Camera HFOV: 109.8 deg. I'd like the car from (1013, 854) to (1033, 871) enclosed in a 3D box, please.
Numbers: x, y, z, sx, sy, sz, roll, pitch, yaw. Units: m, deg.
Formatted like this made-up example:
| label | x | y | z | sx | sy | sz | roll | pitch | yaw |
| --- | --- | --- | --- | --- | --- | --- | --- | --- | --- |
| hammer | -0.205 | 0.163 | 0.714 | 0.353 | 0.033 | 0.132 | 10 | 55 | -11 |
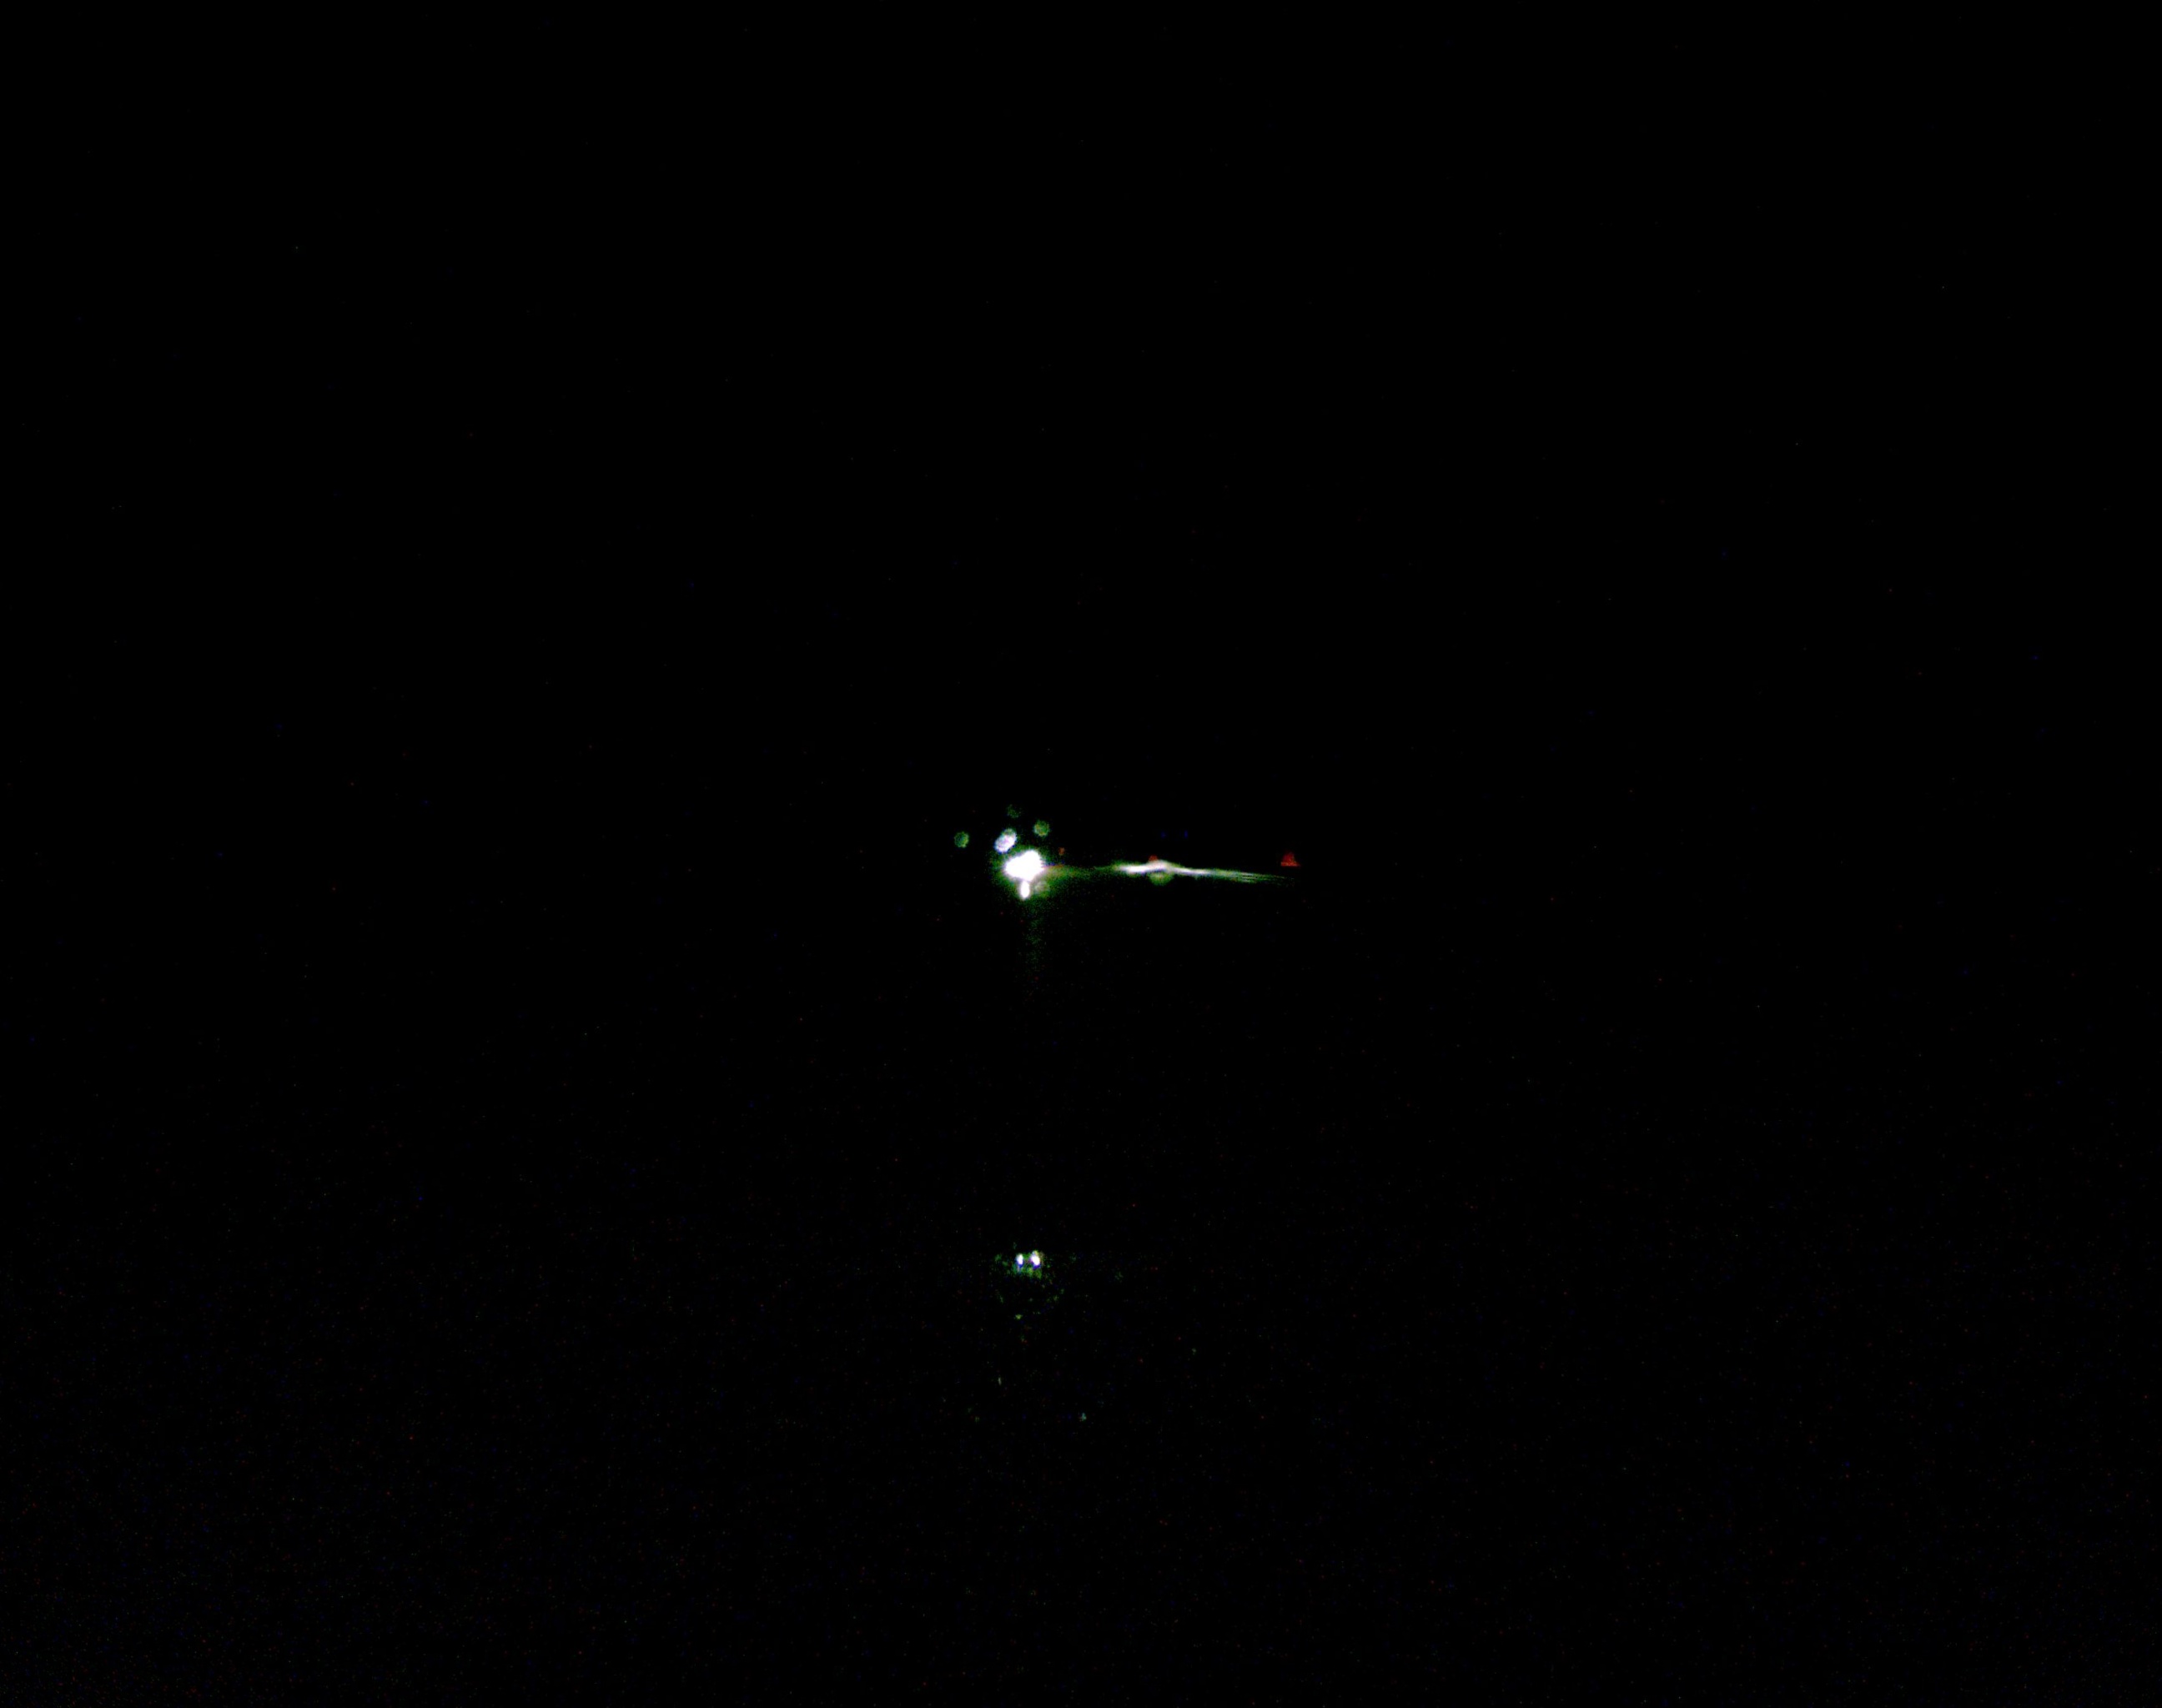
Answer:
| label | x | y | z | sx | sy | sz | roll | pitch | yaw |
| --- | --- | --- | --- | --- | --- | --- | --- | --- | --- |
| car | -6.446 | 0.961 | 84.791 | 1.999 | 1.723 | 3.999 | 4 | -1 | -4 |
